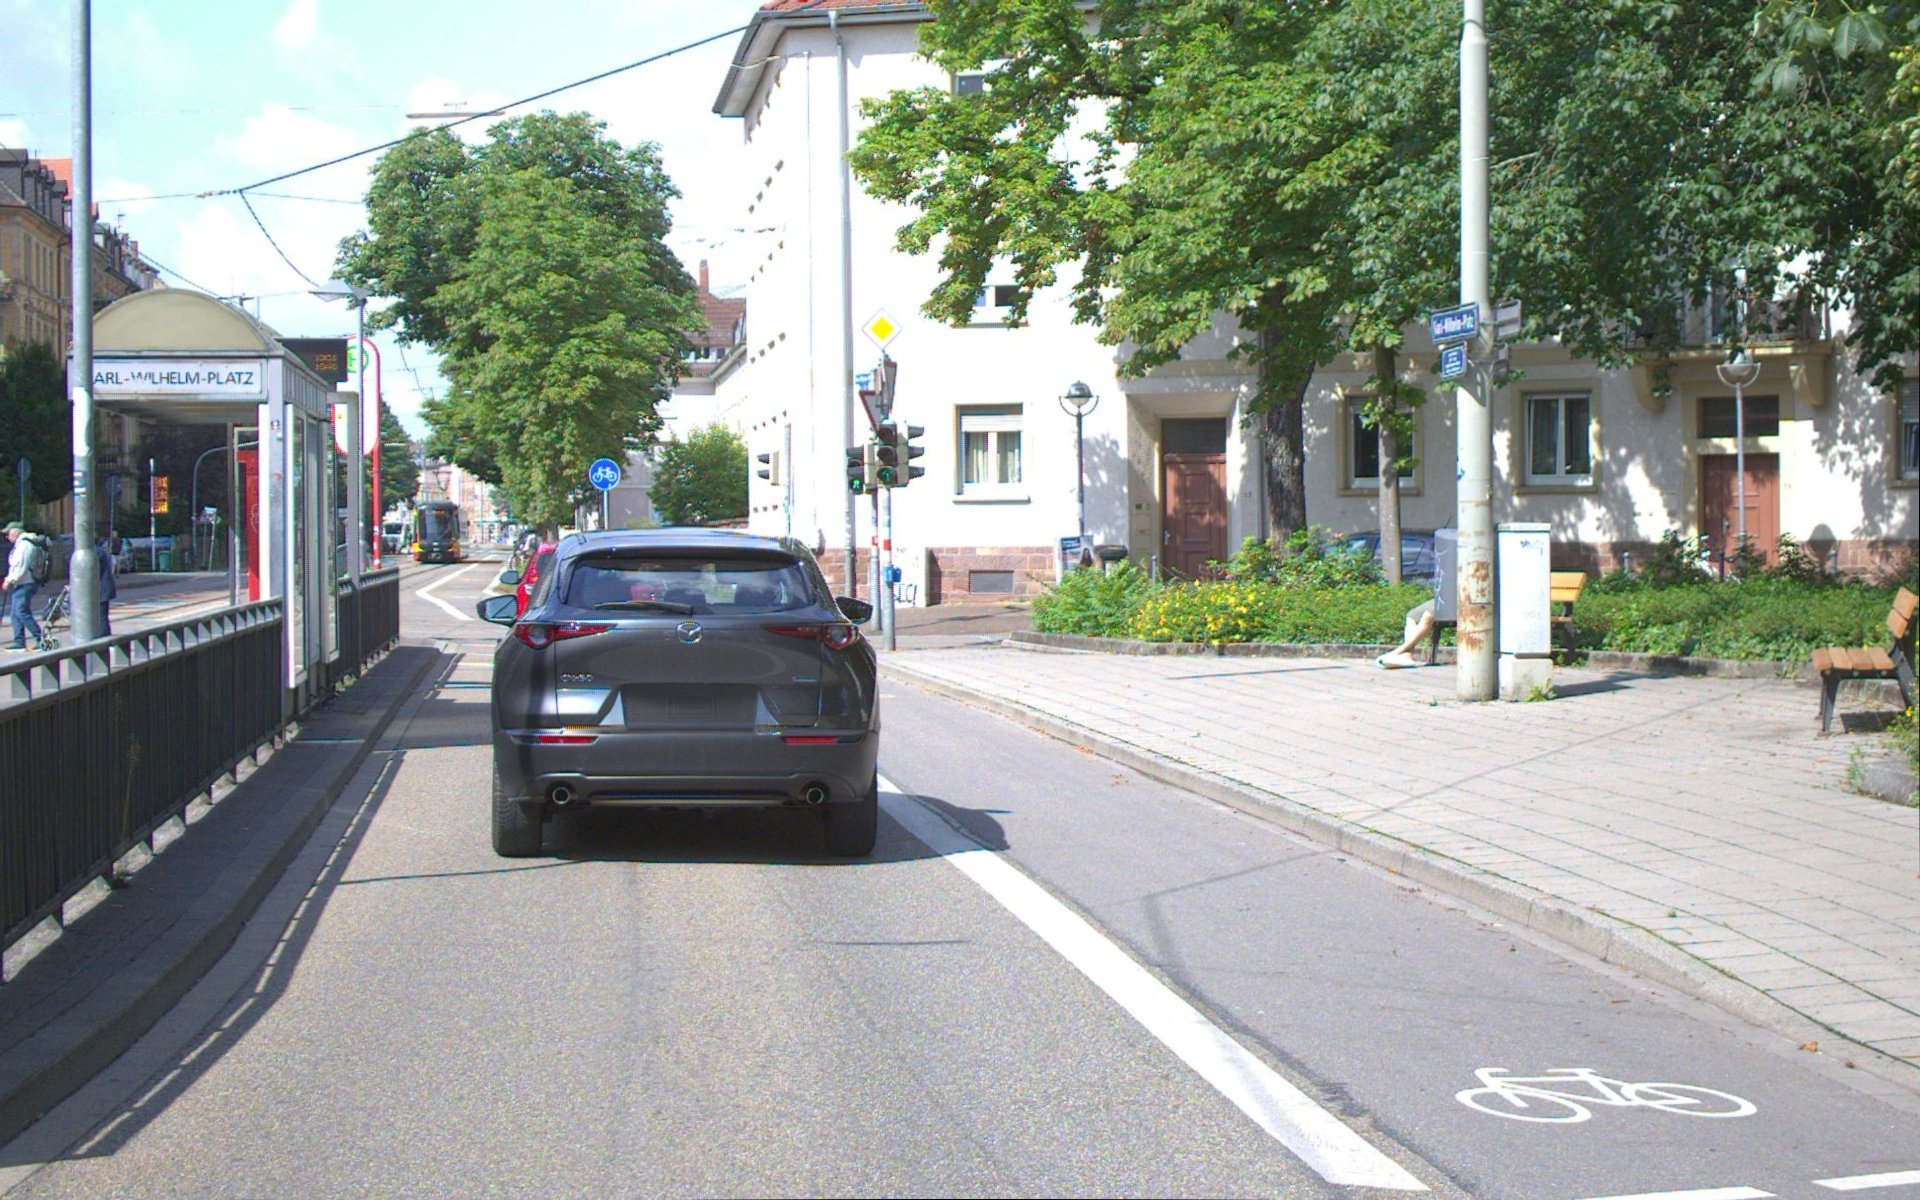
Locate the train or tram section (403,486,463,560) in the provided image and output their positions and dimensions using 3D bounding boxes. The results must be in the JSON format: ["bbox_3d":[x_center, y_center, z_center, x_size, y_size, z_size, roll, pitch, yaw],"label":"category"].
[{"bbox_3d":[-30.282,-4.366,198.083,2.997,3.970,13.812,-1,0,-7],"label":"train or tram section"}]

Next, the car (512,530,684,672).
[{"bbox_3d":[-4.046,-0.023,38.135,1.775,1.459,3.843,1,1,-7],"label":"car"}]

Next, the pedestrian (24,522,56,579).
[{"bbox_3d":[-27.372,-1.471,102.248,0.787,1.682,0.732,0,1,-5],"label":"pedestrian"}]

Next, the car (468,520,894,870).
[{"bbox_3d":[-1.507,0.391,17.171,1.781,1.509,4.001,2,1,-9],"label":"car"}]

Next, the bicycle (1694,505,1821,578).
[{"bbox_3d":[11.535,-0.850,49.771,0.565,1.016,1.752,-4,3,-44],"label":"bicycle"}]

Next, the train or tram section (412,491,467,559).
[{"bbox_3d":[-31.985,-4.541,211.639,2.997,3.970,13.812,-1,0,-7],"label":"train or tram section"}]

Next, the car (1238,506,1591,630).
[{"bbox_3d":[5.916,-0.432,44.894,4.167,1.504,1.848,1,3,35],"label":"car"}]

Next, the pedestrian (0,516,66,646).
[{"bbox_3d":[-12.025,-0.252,44.516,0.770,1.669,0.668,-1,1,-7],"label":"pedestrian"}]

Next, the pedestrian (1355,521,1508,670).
[{"bbox_3d":[4.220,-0.047,30.791,1.192,1.264,0.558,-3,1,-11],"label":"pedestrian"}]

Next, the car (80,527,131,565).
[{"bbox_3d":[-36.399,-2.306,146.483,1.656,1.590,3.931,-1,1,-8],"label":"car"}]

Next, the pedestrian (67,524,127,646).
[{"bbox_3d":[-11.029,-0.199,43.957,0.667,1.540,0.581,-1,1,-7],"label":"pedestrian"}]

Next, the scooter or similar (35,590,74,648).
[{"bbox_3d":[-11.566,0.243,43.918,0.414,0.718,0.486,-1,1,-8],"label":"scooter or similar"}]
